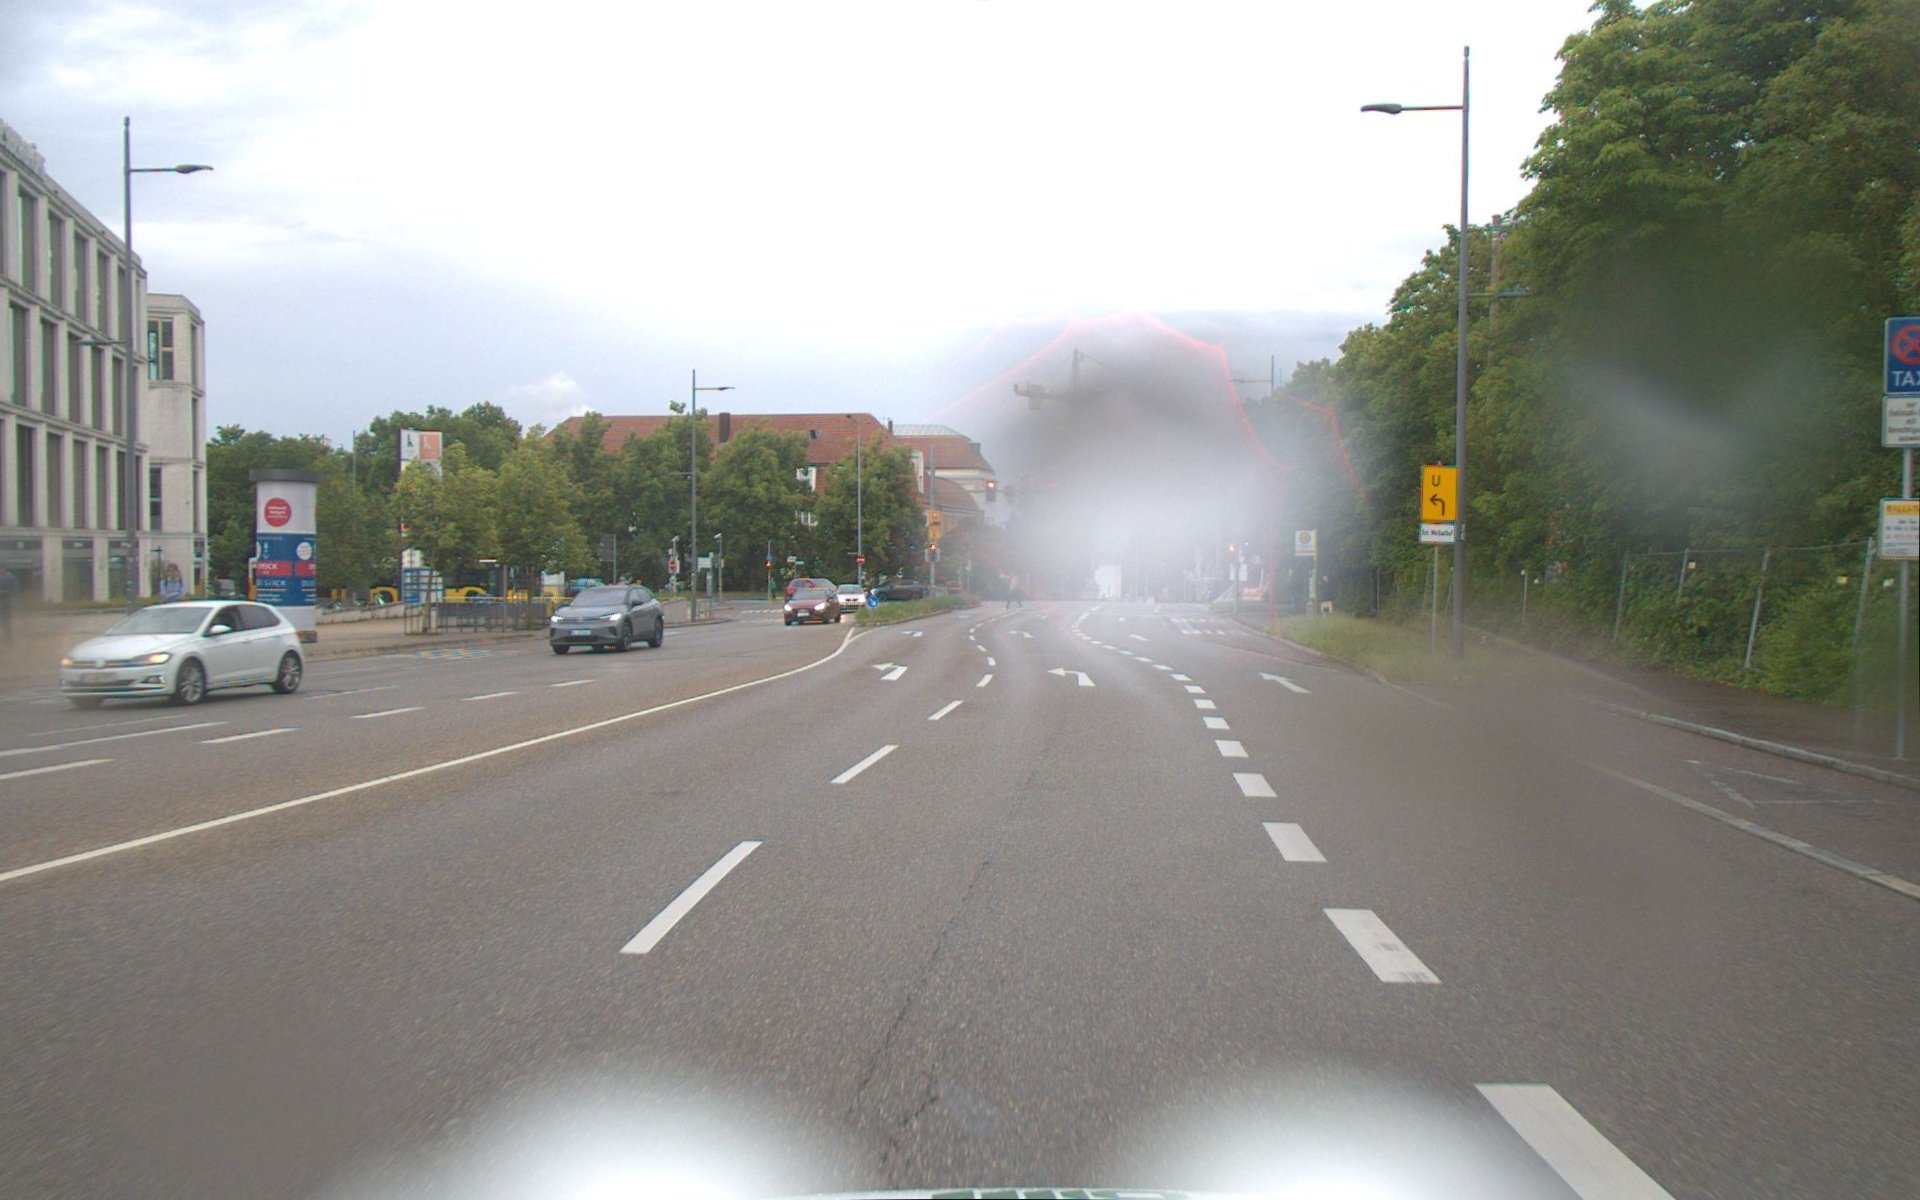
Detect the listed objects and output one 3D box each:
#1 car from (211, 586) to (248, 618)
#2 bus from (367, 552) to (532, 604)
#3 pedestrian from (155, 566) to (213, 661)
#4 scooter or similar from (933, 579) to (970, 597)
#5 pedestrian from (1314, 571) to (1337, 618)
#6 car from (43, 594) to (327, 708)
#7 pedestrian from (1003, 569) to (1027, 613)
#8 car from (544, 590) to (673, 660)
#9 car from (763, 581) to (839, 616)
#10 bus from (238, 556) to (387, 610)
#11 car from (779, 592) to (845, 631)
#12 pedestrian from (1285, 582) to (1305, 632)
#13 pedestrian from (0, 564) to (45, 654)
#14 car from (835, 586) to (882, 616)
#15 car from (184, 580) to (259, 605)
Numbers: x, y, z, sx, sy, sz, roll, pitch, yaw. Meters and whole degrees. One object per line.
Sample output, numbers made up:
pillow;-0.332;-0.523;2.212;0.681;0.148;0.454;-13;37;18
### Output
car;-41.195;0.084;93.344;1.748;1.761;3.974;0;1;-21
bus;-31.895;-1.355;103.462;9.518;3.157;2.900;0;1;7
pedestrian;-15.480;0.262;33.010;0.737;1.874;0.747;0;0;8
scooter or similar;-0.724;-0.999;139.238;3.022;1.465;0.949;0;0;4
pedestrian;13.303;-0.192;60.224;0.662;1.687;0.793;0;0;1
car;-11.192;0.696;24.241;1.833;1.455;4.178;-2;-1;6
pedestrian;2.610;-0.425;78.535;0.920;2.049;0.848;-3;0;11
car;-8.751;0.606;41.559;1.793;1.599;4.596;-2;-1;6
car;-9.205;-0.100;95.591;3.911;1.950;1.997;0;0;29
bus;-40.916;-1.083;104.605;8.365;3.365;2.900;0;1;8
car;-5.957;0.449;66.988;1.793;1.441;4.469;-2;0;6
pedestrian;13.115;0.270;64.716;0.627;1.934;0.718;0;0;1
pedestrian;-19.091;0.183;33.468;0.585;1.793;0.858;0;0;8
car;-5.184;0.033;84.899;1.725;1.441;3.881;-2;0;6
car;-45.589;-0.477;102.076;3.883;1.450;1.669;1;1;5
